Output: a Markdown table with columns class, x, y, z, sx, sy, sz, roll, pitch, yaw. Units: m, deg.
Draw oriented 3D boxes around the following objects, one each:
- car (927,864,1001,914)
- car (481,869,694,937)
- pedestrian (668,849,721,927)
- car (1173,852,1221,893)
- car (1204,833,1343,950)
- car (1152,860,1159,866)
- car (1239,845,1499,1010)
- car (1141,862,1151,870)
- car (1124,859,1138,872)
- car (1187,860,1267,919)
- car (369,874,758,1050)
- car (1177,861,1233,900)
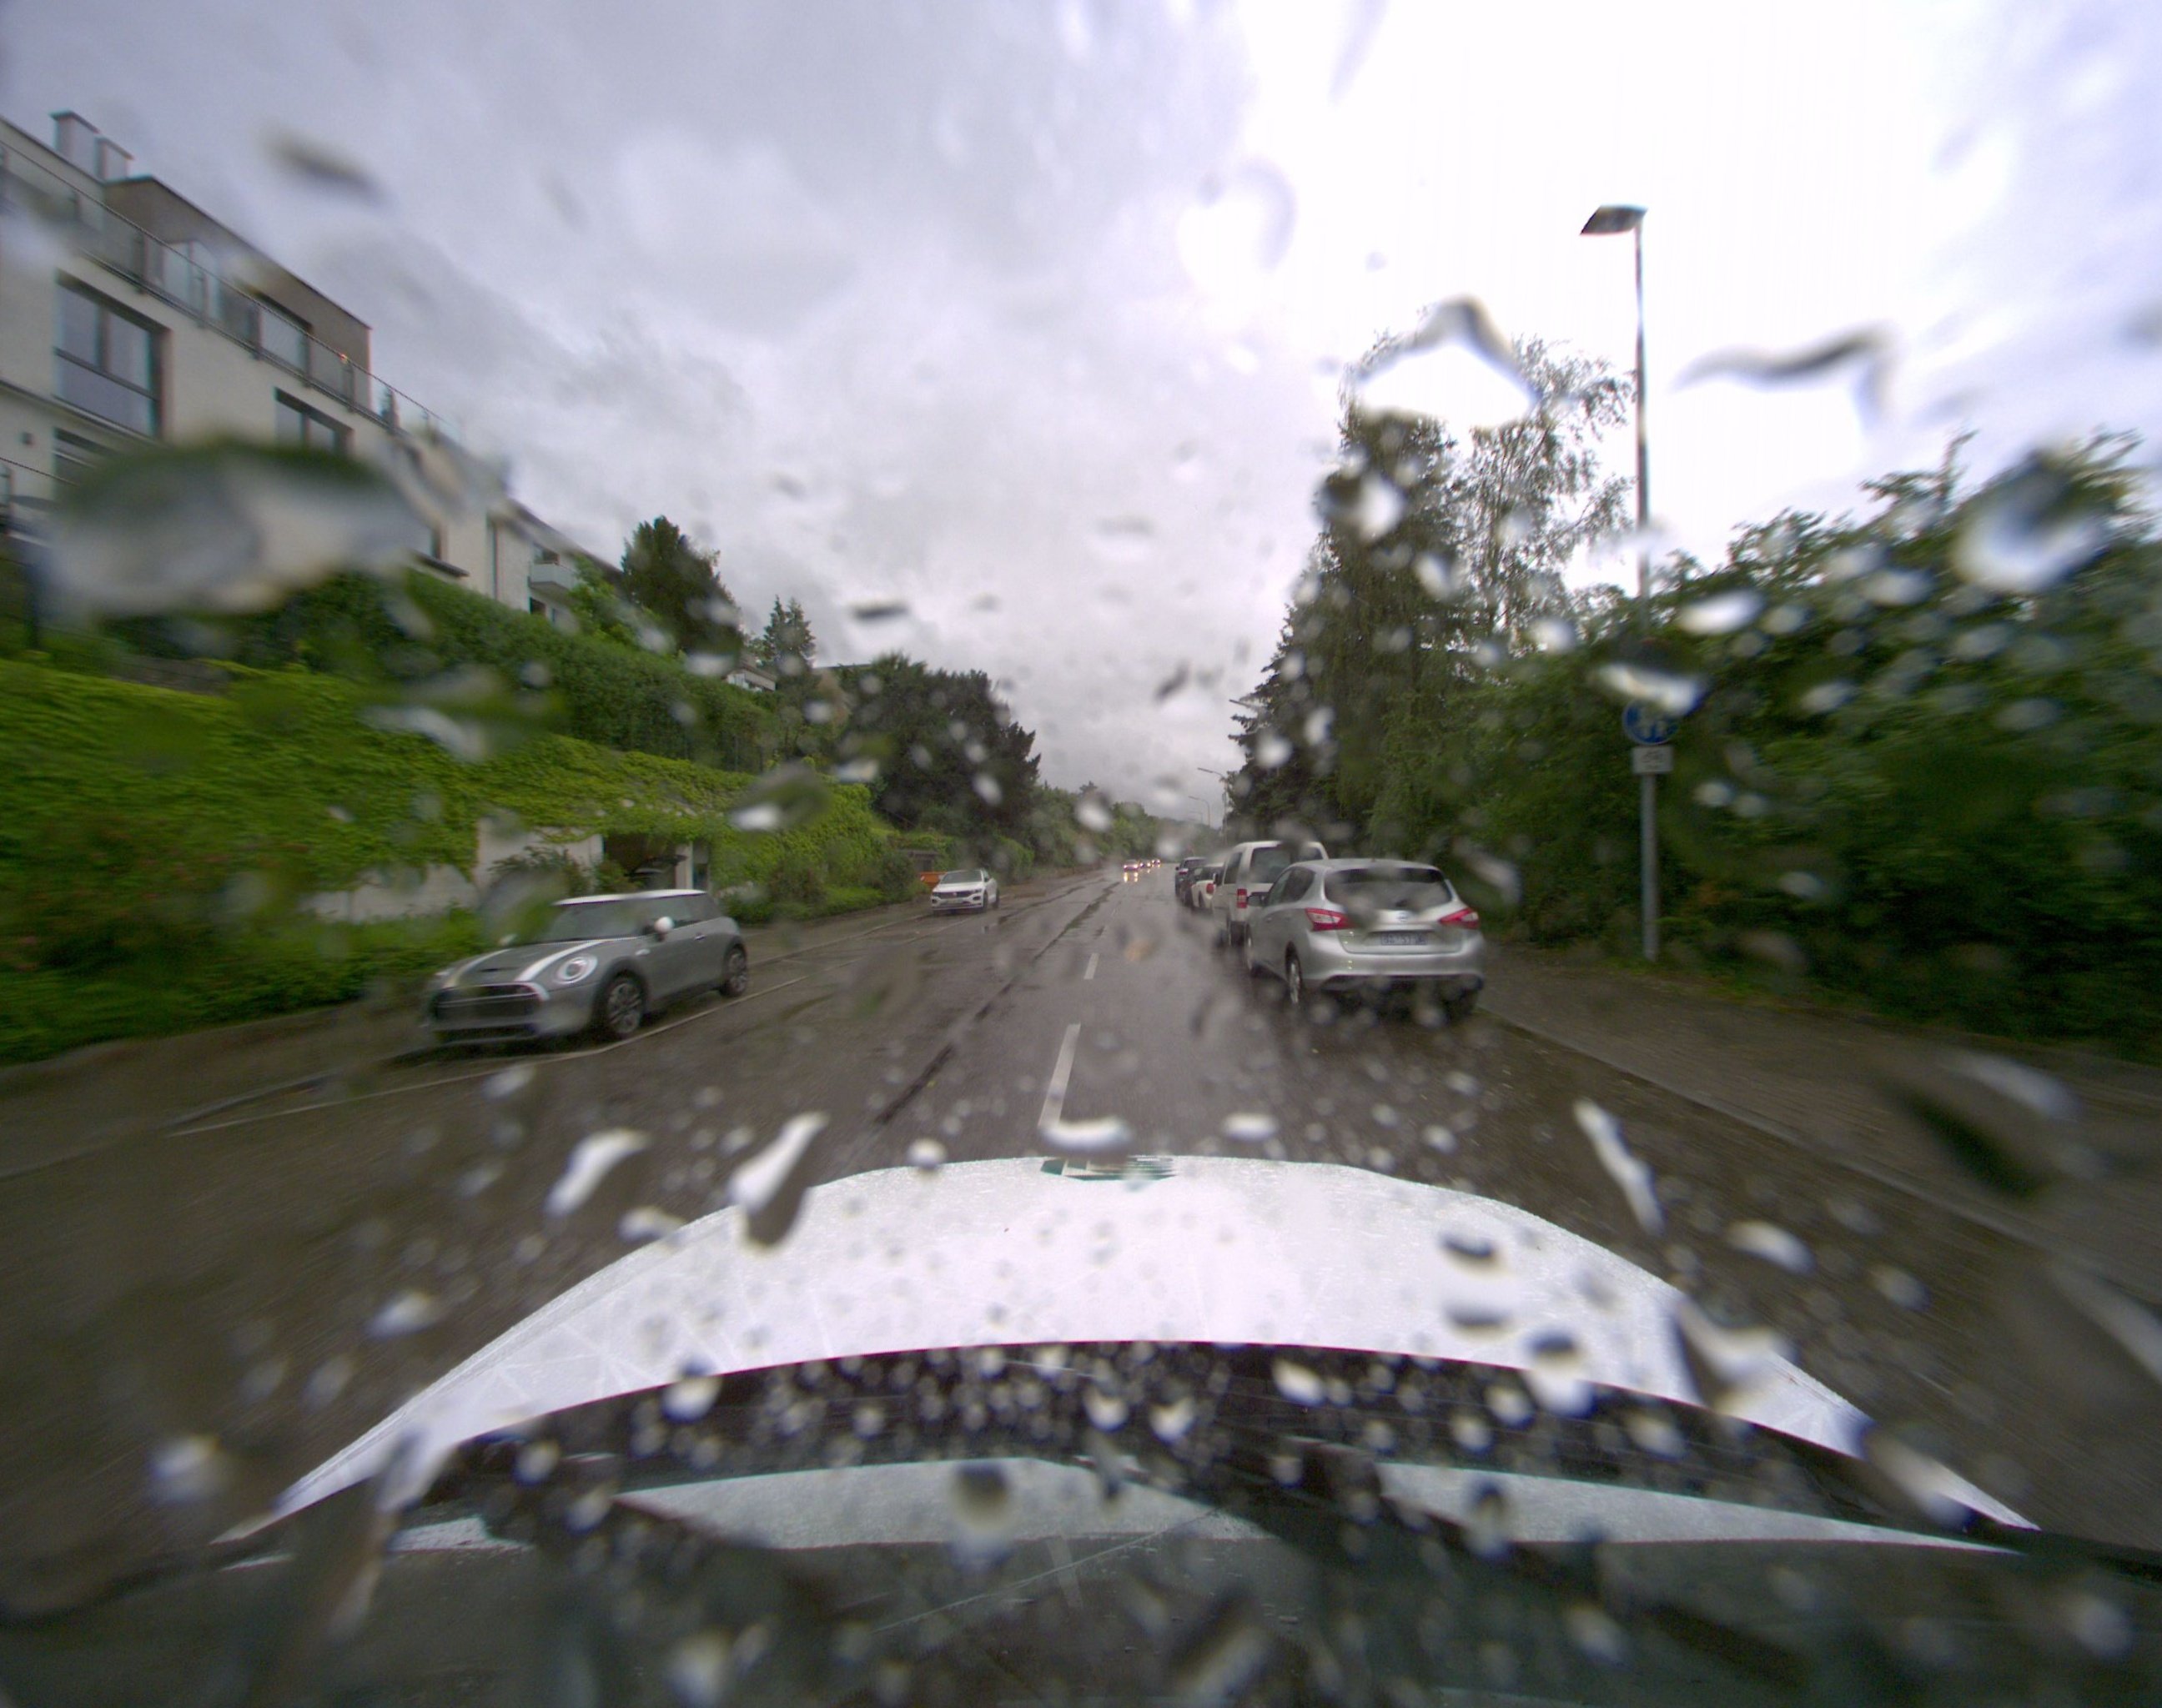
| class | x | y | z | sx | sy | sz | roll | pitch | yaw |
| --- | --- | --- | --- | --- | --- | --- | --- | --- | --- |
| car | -3.929 | 1.165 | 27.974 | 1.749 | 1.498 | 4.221 | -2 | -1 | 2 |
| car | -11.195 | 1.089 | 18.637 | 3.739 | 1.384 | 1.869 | -2 | -1 | 5 |
| pedestrian | -9.658 | 0.842 | 20.378 | 0.838 | 1.880 | 0.903 | 0 | -2 | 5 |
| car | 5.049 | 0.813 | 35.886 | 1.807 | 1.646 | 4.400 | -1 | -1 | 4 |
| car | 3.311 | 0.632 | 14.816 | 1.776 | 1.790 | 4.366 | -1 | -1 | 4 |
| car | 17.384 | 2.079 | 190.171 | 1.751 | 1.496 | 4.133 | -1 | -1 | 5 |
| car | 2.990 | 0.708 | 9.458 | 1.781 | 1.460 | 4.313 | -1 | -1 | 4 |
| car | 10.321 | 1.926 | 129.193 | 1.647 | 1.352 | 3.992 | -1 | -1 | 4 |
| car | 6.224 | 1.437 | 101.103 | 1.655 | 1.461 | 3.664 | -1 | -1 | 2 |
| car | 3.795 | 0.902 | 21.771 | 1.701 | 1.403 | 4.208 | -1 | -1 | 4 |
| car | -5.268 | 0.986 | 8.988 | 1.750 | 1.402 | 3.770 | -4 | -1 | 1 |
| car | 4.349 | 0.926 | 29.029 | 1.623 | 1.282 | 4.452 | -1 | -1 | 4 |
